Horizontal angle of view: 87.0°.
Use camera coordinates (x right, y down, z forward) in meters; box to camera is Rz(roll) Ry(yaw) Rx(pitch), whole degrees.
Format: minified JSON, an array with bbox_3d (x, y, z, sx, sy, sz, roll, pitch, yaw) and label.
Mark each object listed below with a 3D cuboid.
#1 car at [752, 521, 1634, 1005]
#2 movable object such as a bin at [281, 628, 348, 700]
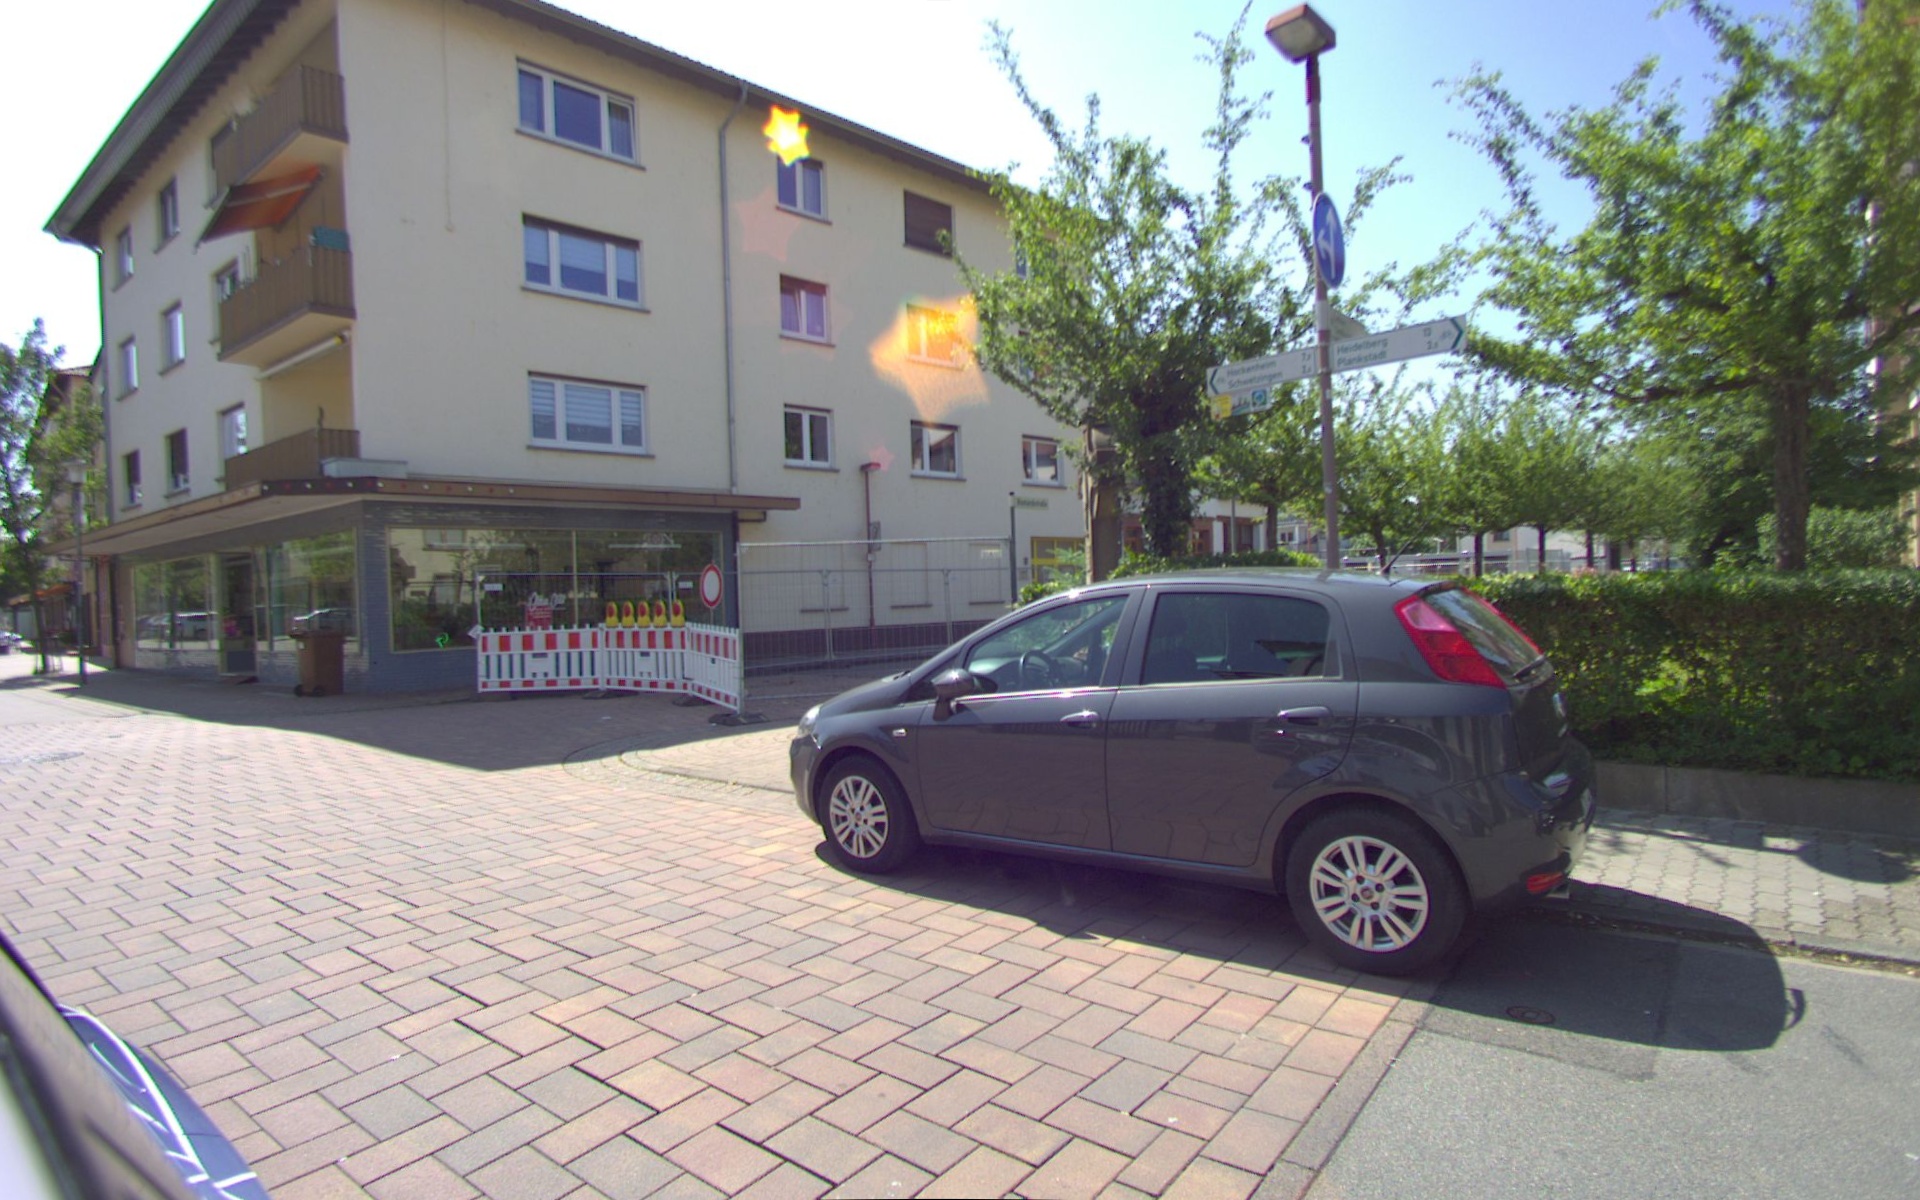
[{"bbox_3d":[0.954,0.532,4.970,3.849,1.508,1.687,-2,0,36],"label":"car"},{"bbox_3d":[-10.337,1.014,16.221,0.662,1.078,0.650,-2,1,33],"label":"movable object such as a bin"}]
